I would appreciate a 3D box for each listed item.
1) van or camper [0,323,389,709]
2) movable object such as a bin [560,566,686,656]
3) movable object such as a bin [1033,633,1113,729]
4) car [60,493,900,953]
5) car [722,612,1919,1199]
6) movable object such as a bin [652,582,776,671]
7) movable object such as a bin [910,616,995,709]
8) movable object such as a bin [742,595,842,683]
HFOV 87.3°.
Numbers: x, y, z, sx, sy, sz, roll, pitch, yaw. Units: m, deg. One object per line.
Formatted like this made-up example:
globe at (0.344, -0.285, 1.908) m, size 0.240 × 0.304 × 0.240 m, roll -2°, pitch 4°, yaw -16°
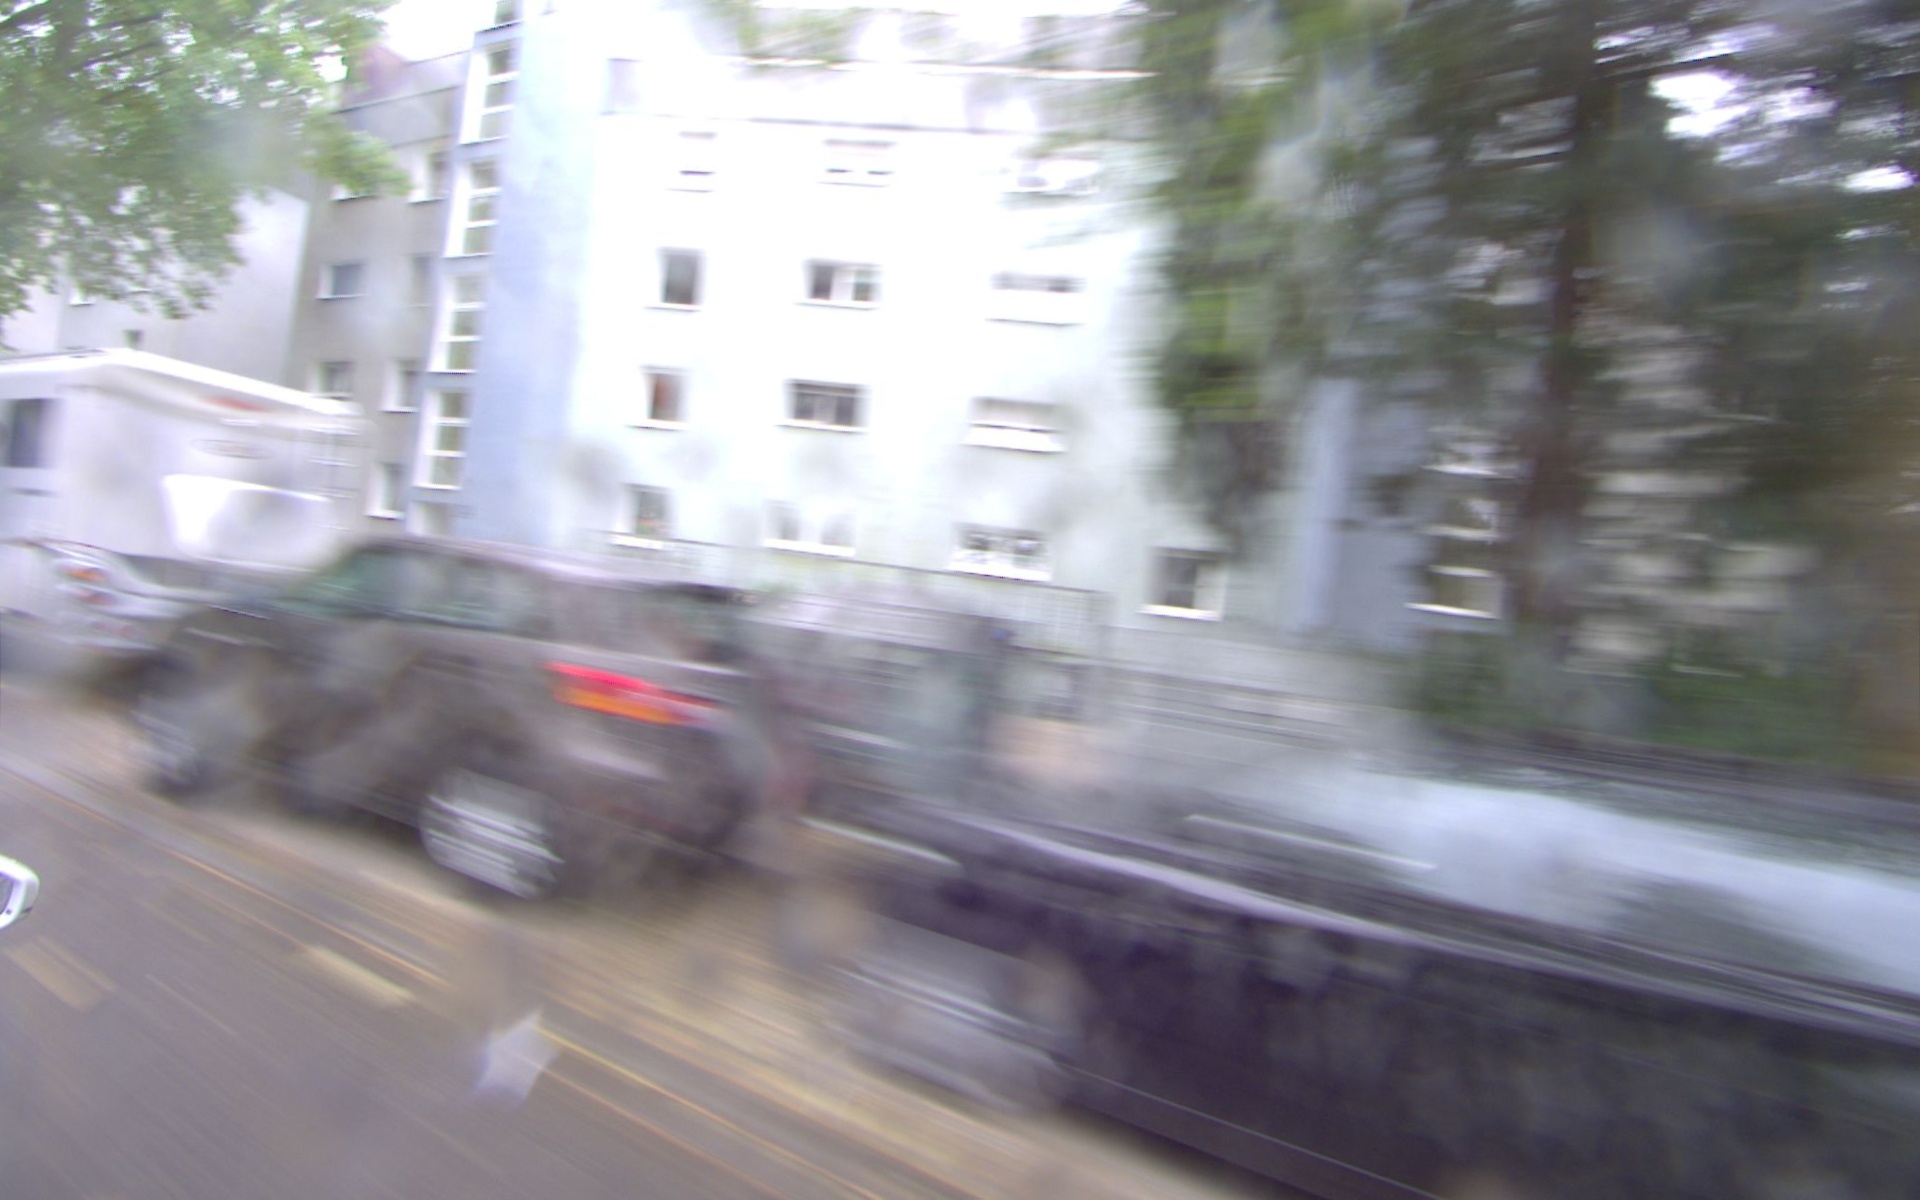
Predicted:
van or camper at (-9.008, -0.849, 10.104) m, size 6.747 × 2.839 × 2.325 m, roll 7°, pitch -2°, yaw 30°
movable object such as a bin at (-6.592, 0.240, 19.771) m, size 1.827 × 1.449 × 1.218 m, roll 8°, pitch -2°, yaw 10°
movable object such as a bin at (2.054, 1.424, 18.117) m, size 1.200 × 1.492 × 1.162 m, roll 8°, pitch 2°, yaw 10°
car at (-2.791, 0.467, 5.755) m, size 4.376 × 1.638 × 1.922 m, roll 5°, pitch -3°, yaw 27°
car at (1.413, 1.035, 3.048) m, size 4.079 × 1.406 × 1.552 m, roll 7°, pitch -2°, yaw 31°
movable object such as a bin at (-4.769, 0.538, 19.625) m, size 1.827 × 1.449 × 1.218 m, roll 8°, pitch -2°, yaw 10°
movable object such as a bin at (-0.115, 1.112, 18.485) m, size 1.200 × 1.492 × 1.162 m, roll 8°, pitch 2°, yaw 10°
movable object such as a bin at (-3.200, 0.768, 19.300) m, size 1.344 × 1.449 × 1.323 m, roll 8°, pitch -2°, yaw 10°
